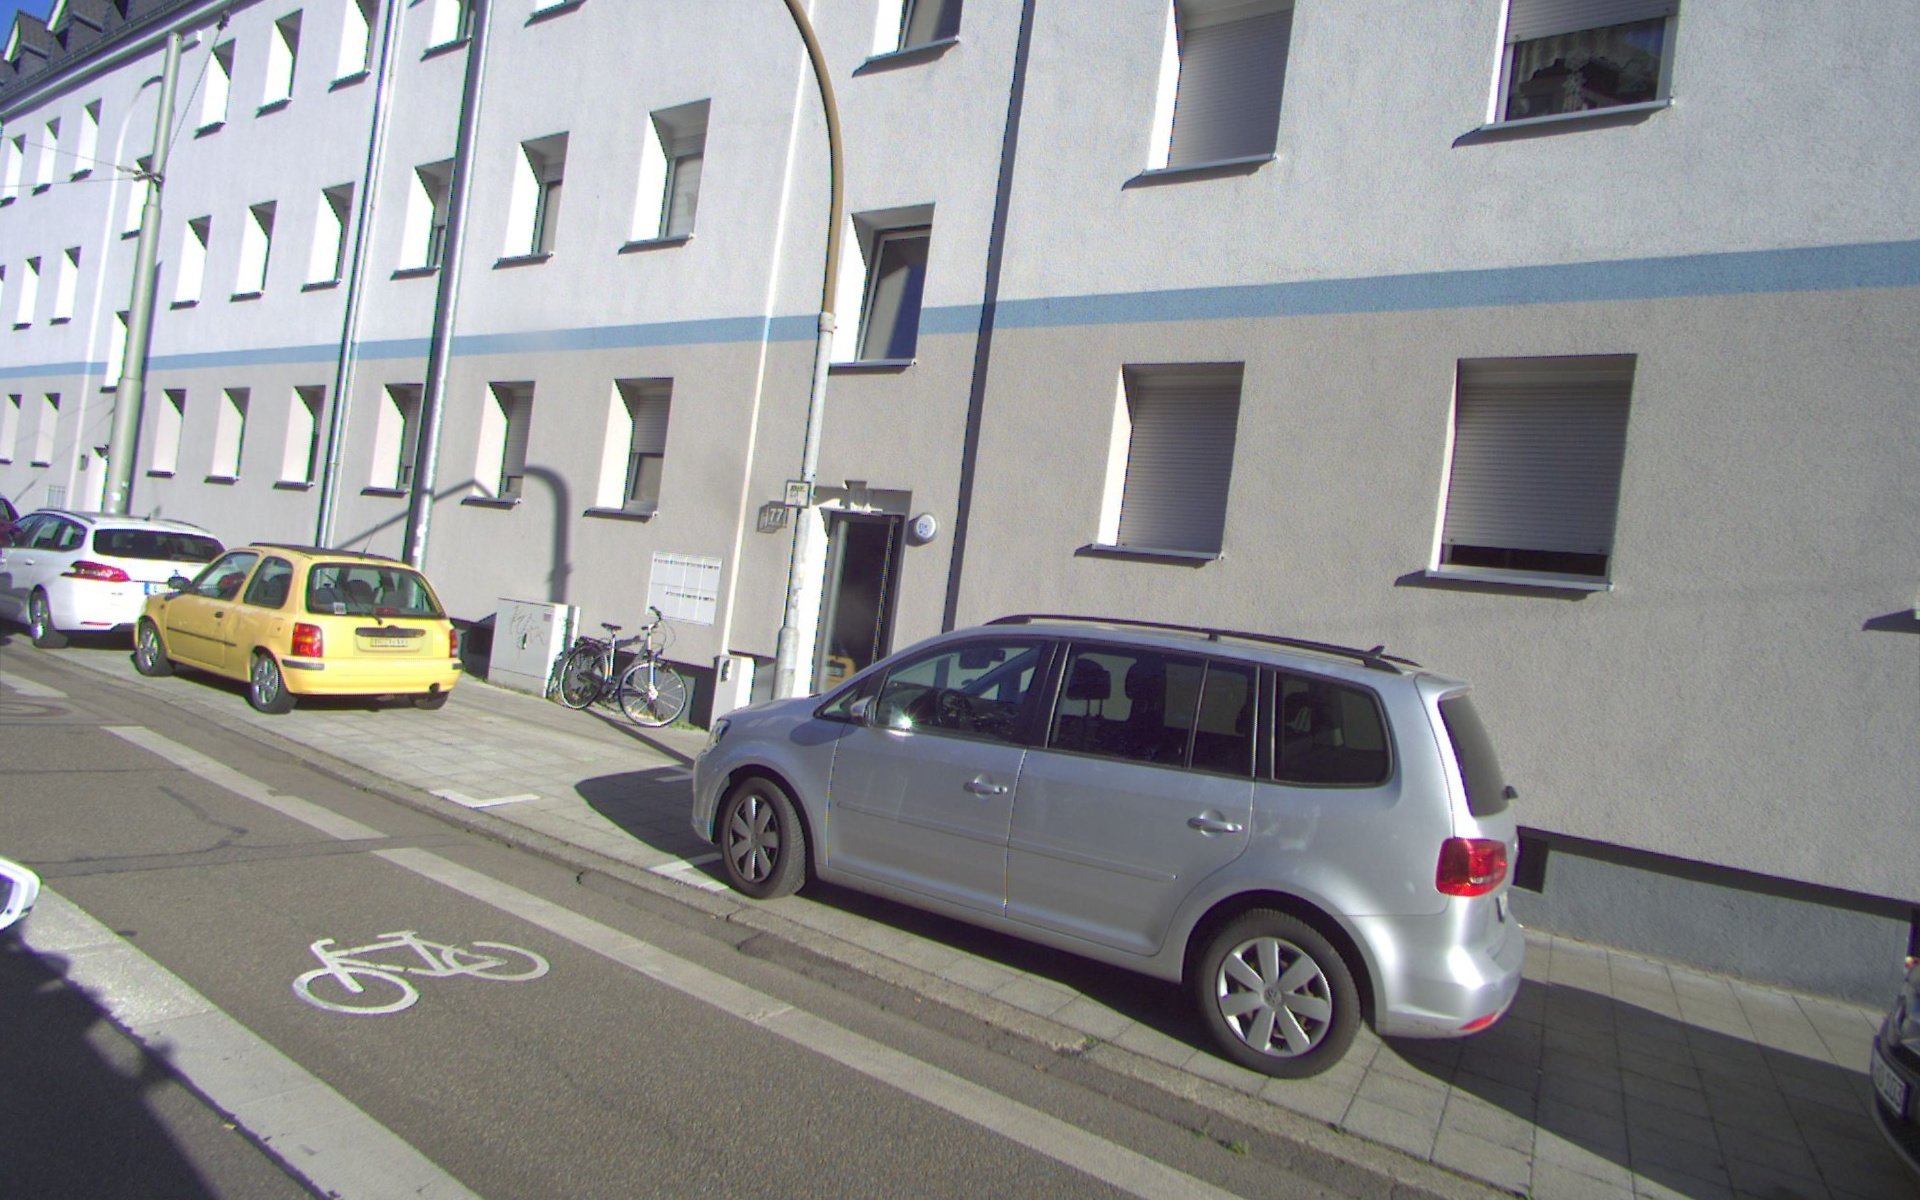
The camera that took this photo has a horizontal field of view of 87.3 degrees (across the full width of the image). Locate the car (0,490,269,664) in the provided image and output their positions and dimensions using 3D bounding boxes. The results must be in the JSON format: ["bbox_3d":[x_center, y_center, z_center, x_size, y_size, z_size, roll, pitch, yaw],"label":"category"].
[{"bbox_3d":[-10.202,-0.349,11.874,4.435,1.590,1.681,7,1,32],"label":"car"}]

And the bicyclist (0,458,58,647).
[{"bbox_3d":[-9.192,-0.496,9.265,0.953,1.696,0.936,7,-1,31],"label":"bicyclist"}]

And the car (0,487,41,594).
[{"bbox_3d":[-16.515,-1.121,16.117,3.841,1.592,1.754,7,2,34],"label":"car"}]

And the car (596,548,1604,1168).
[{"bbox_3d":[0.464,0.847,5.188,4.547,1.686,1.757,7,1,30],"label":"car"}]

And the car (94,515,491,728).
[{"bbox_3d":[-6.524,0.137,9.695,4.132,1.448,1.515,7,0,32],"label":"car"}]

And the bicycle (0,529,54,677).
[{"bbox_3d":[-9.467,-0.104,9.320,2.421,1.250,0.823,7,-2,32],"label":"bicycle"}]

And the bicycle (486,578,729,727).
[{"bbox_3d":[-3.734,0.533,10.605,2.288,1.211,1.098,7,-1,31],"label":"bicycle"}]

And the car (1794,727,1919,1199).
[{"bbox_3d":[4.879,1.468,2.261,4.296,1.574,1.864,7,0,34],"label":"car"}]
